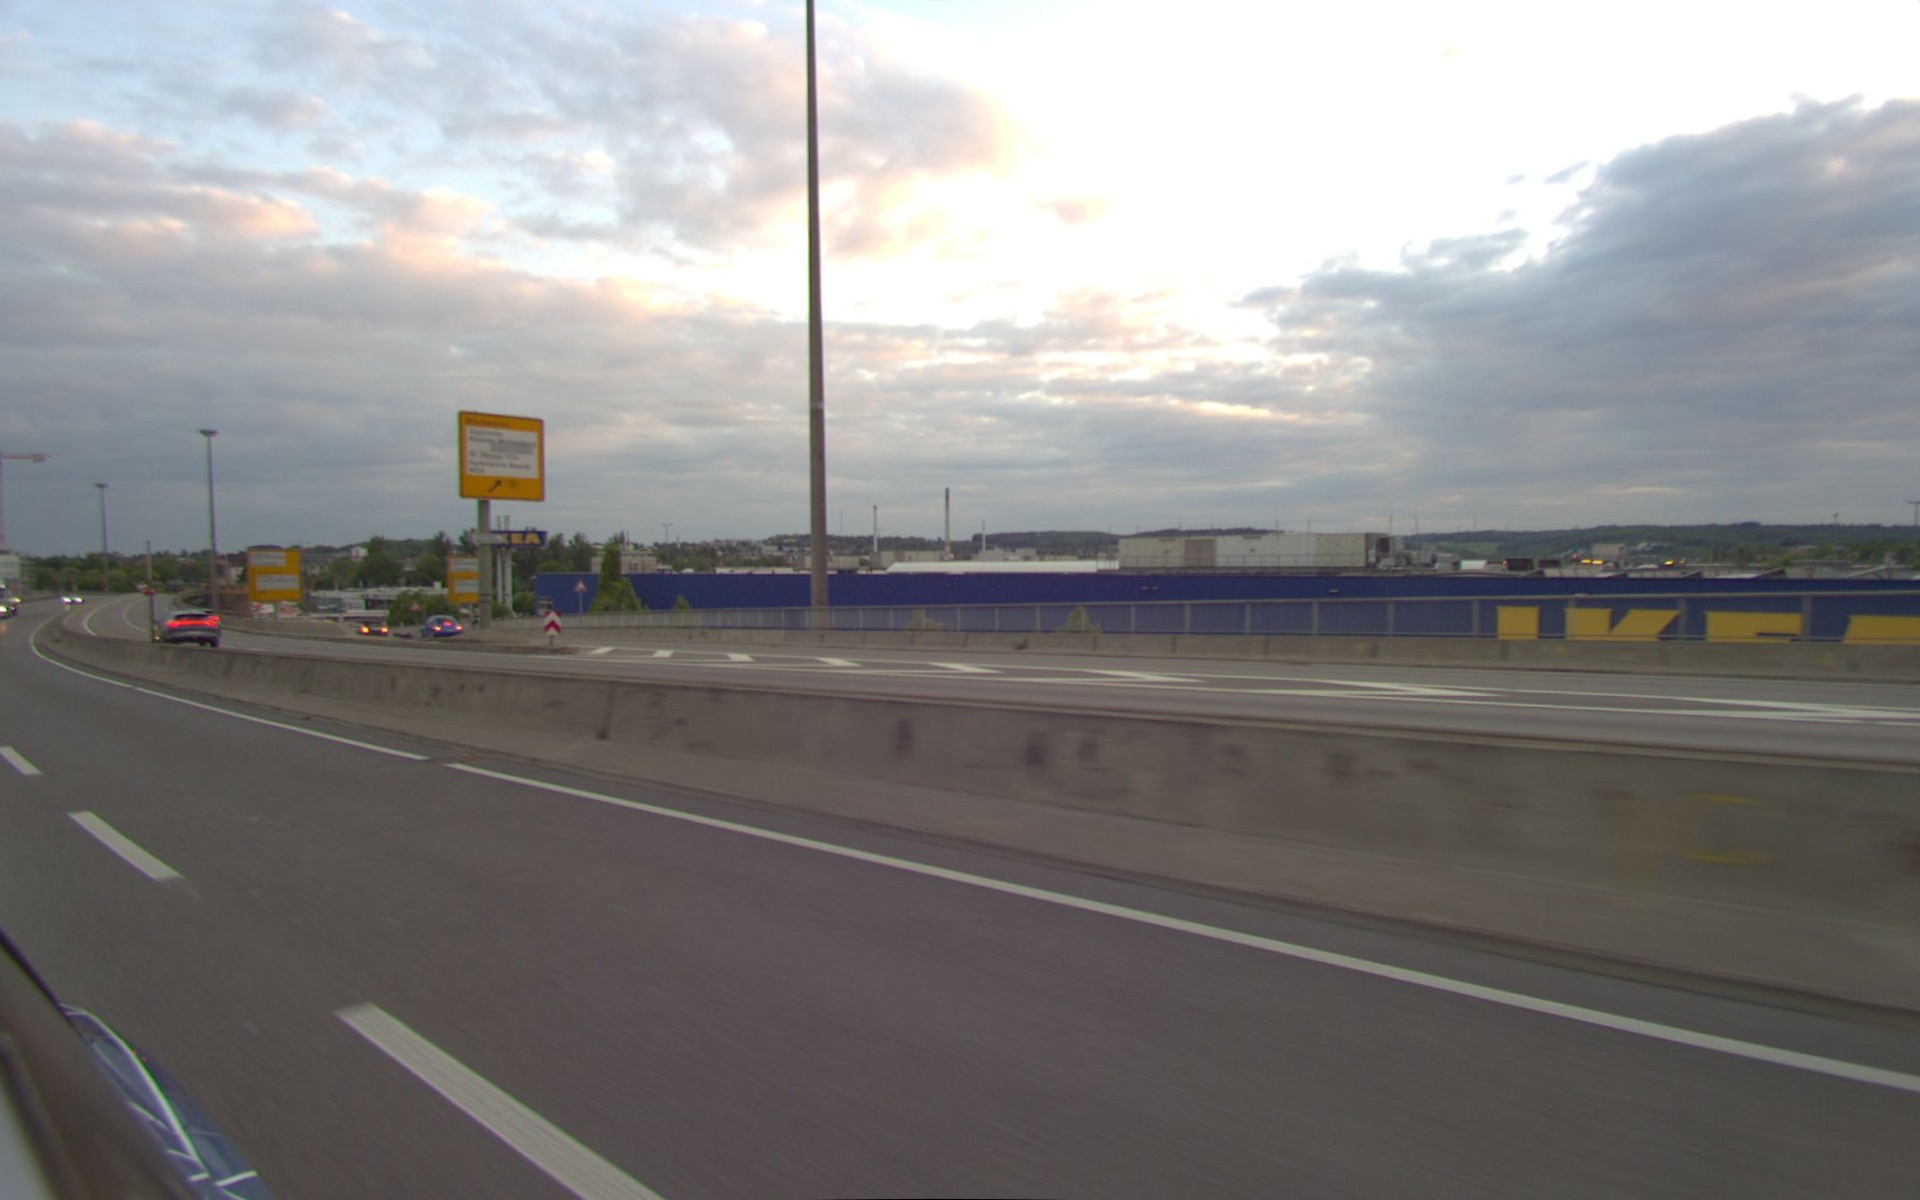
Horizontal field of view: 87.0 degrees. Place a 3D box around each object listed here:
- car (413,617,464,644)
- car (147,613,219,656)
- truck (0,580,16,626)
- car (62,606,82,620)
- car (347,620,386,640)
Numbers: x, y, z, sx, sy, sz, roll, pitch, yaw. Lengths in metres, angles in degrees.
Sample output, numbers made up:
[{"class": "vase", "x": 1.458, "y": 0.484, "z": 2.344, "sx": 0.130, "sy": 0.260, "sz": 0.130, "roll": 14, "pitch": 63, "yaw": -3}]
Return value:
[{"class": "car", "x": -32.660, "y": 1.912, "z": 63.308, "sx": 1.874, "sy": 1.608, "sz": 4.168, "roll": -1, "pitch": -1, "yaw": -41}, {"class": "car", "x": -31.885, "y": 1.374, "z": 41.503, "sx": 1.790, "sy": 1.545, "sz": 4.549, "roll": -1, "pitch": 1, "yaw": -45}, {"class": "truck", "x": -95.575, "y": 0.251, "z": 99.787, "sx": 3.118, "sy": 4.427, "sz": 8.809, "roll": -1, "pitch": 1, "yaw": -39}, {"class": "car", "x": -134.299, "y": 2.010, "z": 153.096, "sx": 1.968, "sy": 2.029, "sz": 4.009, "roll": -1, "pitch": 1, "yaw": -37}, {"class": "car", "x": -45.206, "y": 2.269, "z": 77.094, "sx": 1.775, "sy": 1.497, "sz": 3.845, "roll": -1, "pitch": 0, "yaw": -43}]
